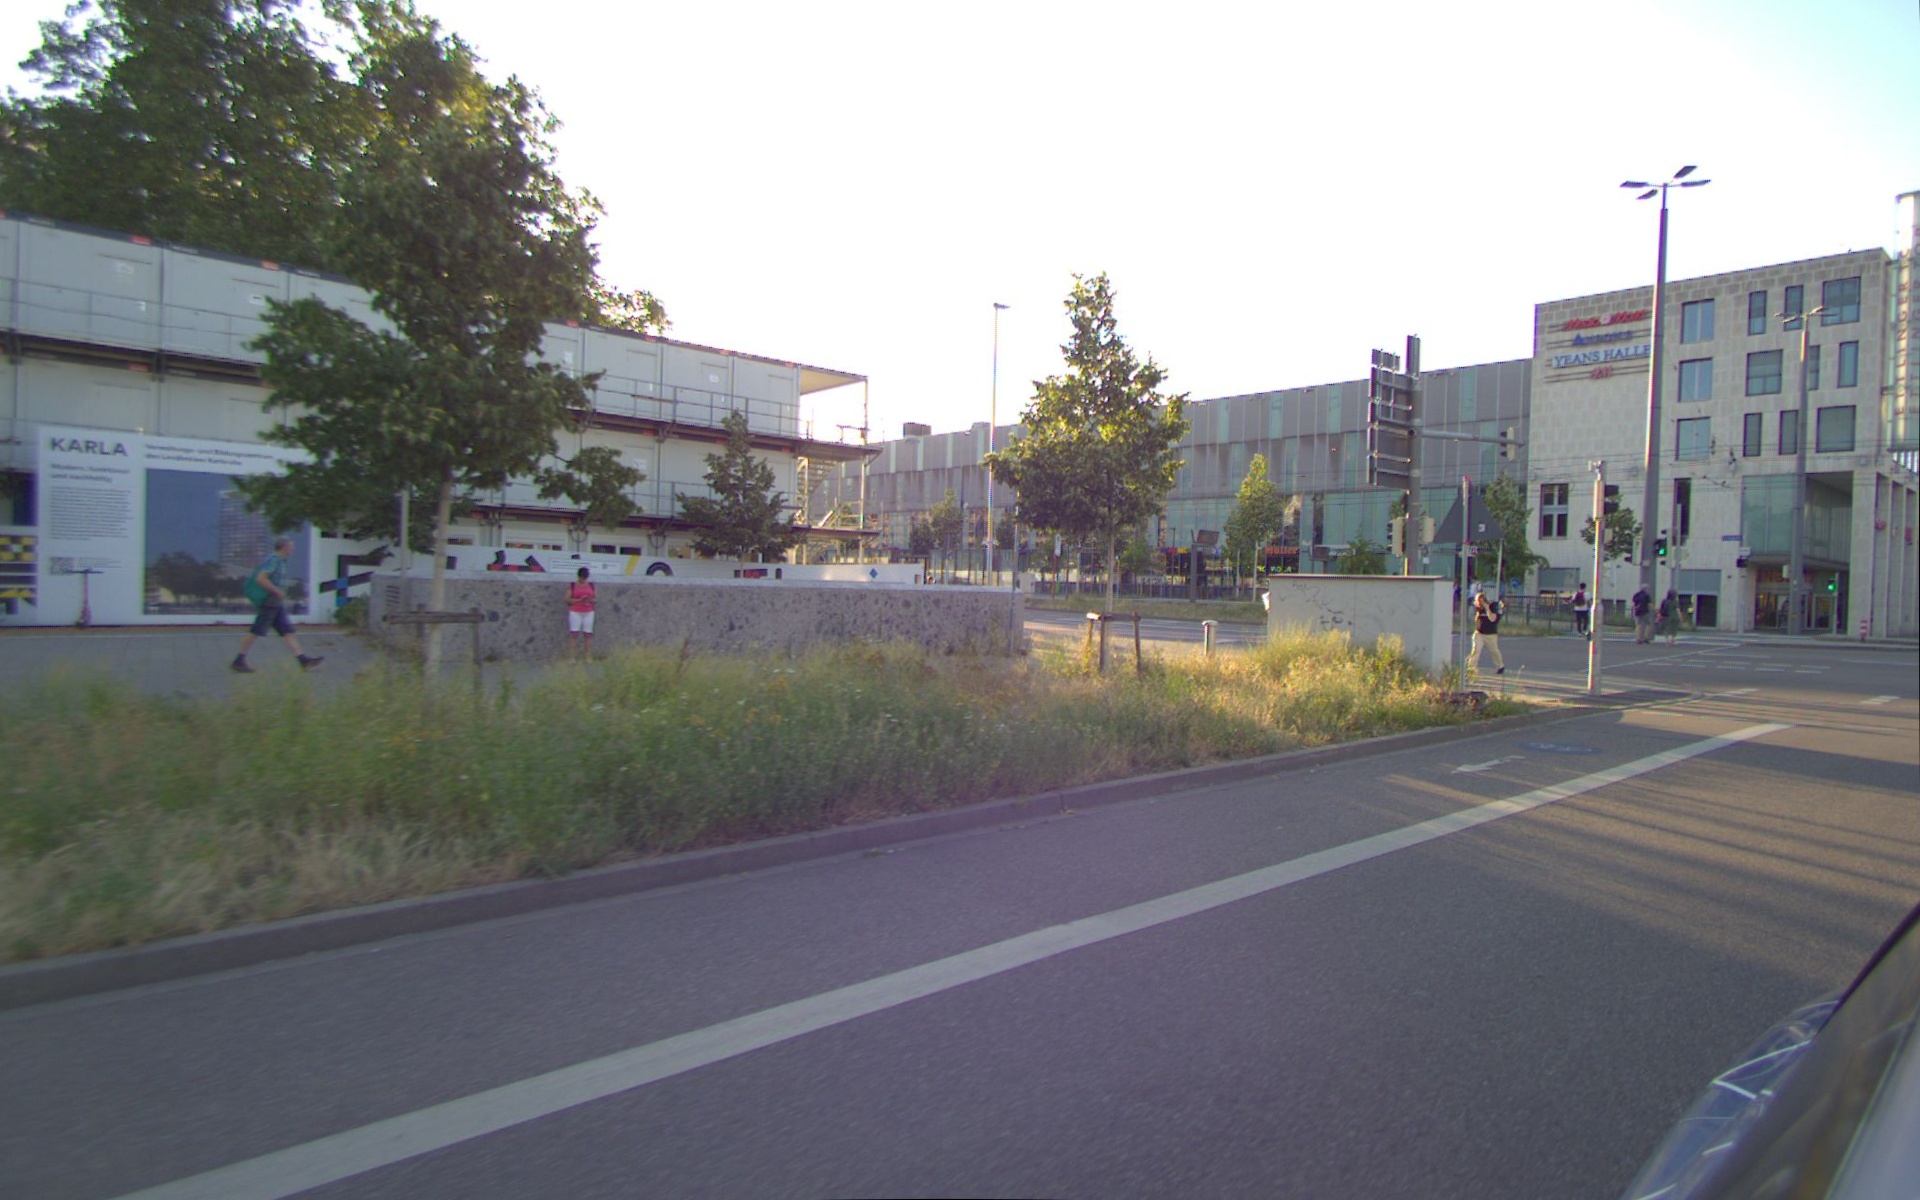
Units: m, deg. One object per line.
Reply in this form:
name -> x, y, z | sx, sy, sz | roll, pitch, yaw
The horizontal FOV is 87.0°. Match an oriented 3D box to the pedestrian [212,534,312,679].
pedestrian -> -9.290, 0.080, 13.509 | 1.026, 1.838, 0.817 | 2, 1, -34

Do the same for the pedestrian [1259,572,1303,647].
pedestrian -> 7.597, 0.212, 23.956 | 0.748, 1.734, 0.644 | 2, 1, -38

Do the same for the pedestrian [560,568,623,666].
pedestrian -> -5.850, 0.261, 16.060 | 0.633, 1.509, 0.761 | 3, 0, -42

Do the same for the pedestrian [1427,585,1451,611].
pedestrian -> 18.761, -0.069, 39.658 | 0.643, 0.975, 0.648 | 1, 1, -44

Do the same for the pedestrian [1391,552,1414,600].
pedestrian -> 17.437, -0.963, 39.872 | 0.575, 1.877, 0.604 | 0, 1, -36

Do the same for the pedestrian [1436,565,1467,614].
pedestrian -> 19.448, -0.417, 40.073 | 0.882, 1.876, 0.723 | 3, 4, 17

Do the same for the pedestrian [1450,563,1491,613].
pedestrian -> 19.818, -0.459, 39.294 | 0.985, 1.875, 0.896 | 0, 4, -27

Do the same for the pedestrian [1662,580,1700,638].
pedestrian -> 21.453, 0.247, 30.114 | 0.855, 1.680, 0.644 | 0, 1, -37

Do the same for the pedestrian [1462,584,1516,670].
pedestrian -> 10.555, 0.530, 20.186 | 0.855, 1.648, 0.643 | 1, 1, -41

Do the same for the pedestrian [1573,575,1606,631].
pedestrian -> 21.191, 0.098, 34.055 | 0.855, 1.835, 0.644 | 0, 2, -37

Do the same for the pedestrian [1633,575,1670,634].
pedestrian -> 21.016, 0.136, 30.744 | 0.855, 1.752, 0.644 | 0, 1, -37

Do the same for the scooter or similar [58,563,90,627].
scooter or similar -> -17.908, -0.123, 20.473 | 0.466, 1.235, 1.572 | 0, 2, -41

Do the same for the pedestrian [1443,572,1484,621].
pedestrian -> 19.060, -0.138, 38.326 | 0.986, 1.744, 0.873 | 1, 4, -13
